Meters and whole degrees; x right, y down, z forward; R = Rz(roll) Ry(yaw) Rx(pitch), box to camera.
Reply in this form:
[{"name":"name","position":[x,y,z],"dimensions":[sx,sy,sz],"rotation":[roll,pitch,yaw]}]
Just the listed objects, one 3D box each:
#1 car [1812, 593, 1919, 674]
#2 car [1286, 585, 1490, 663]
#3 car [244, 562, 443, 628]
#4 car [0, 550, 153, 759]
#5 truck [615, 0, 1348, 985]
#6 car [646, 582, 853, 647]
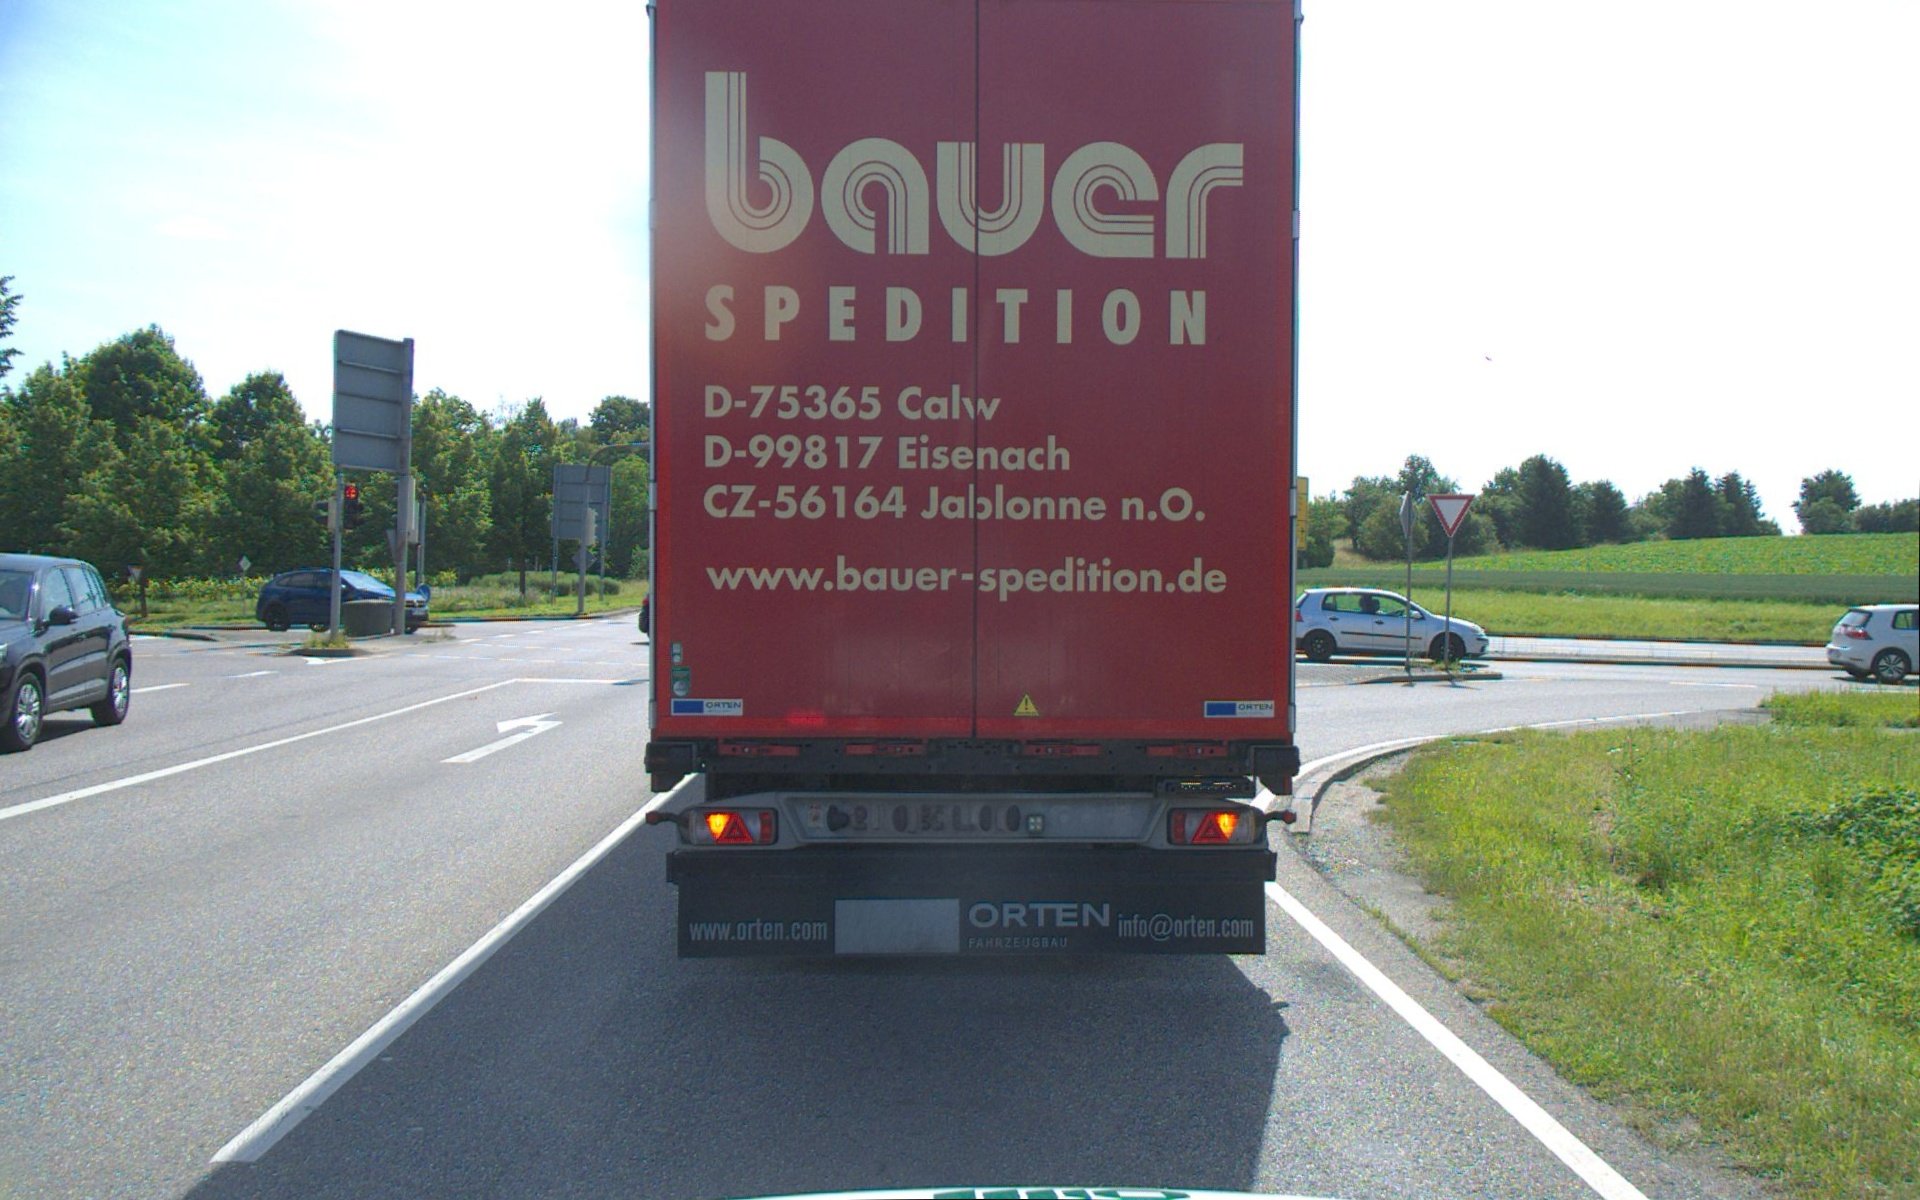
[{"name":"car","position":[18.959,0.651,31.859],"dimensions":[4.155,1.486,1.811],"rotation":[1,1,10]},{"name":"car","position":[8.742,0.462,34.054],"dimensions":[3.948,1.441,1.797],"rotation":[1,1,11]},{"name":"car","position":[-14.690,-0.123,39.465],"dimensions":[4.176,1.454,1.743],"rotation":[1,0,15]},{"name":"car","position":[-8.747,0.397,14.787],"dimensions":[1.772,1.625,4.256],"rotation":[1,0,-12]},{"name":"truck","position":[-0.069,-0.666,14.433],"dimensions":[2.679,3.993,16.622],"rotation":[1,1,-1]},{"name":"car","position":[-4.646,0.317,36.720],"dimensions":[4.176,1.328,1.743],"rotation":[1,0,13]}]
